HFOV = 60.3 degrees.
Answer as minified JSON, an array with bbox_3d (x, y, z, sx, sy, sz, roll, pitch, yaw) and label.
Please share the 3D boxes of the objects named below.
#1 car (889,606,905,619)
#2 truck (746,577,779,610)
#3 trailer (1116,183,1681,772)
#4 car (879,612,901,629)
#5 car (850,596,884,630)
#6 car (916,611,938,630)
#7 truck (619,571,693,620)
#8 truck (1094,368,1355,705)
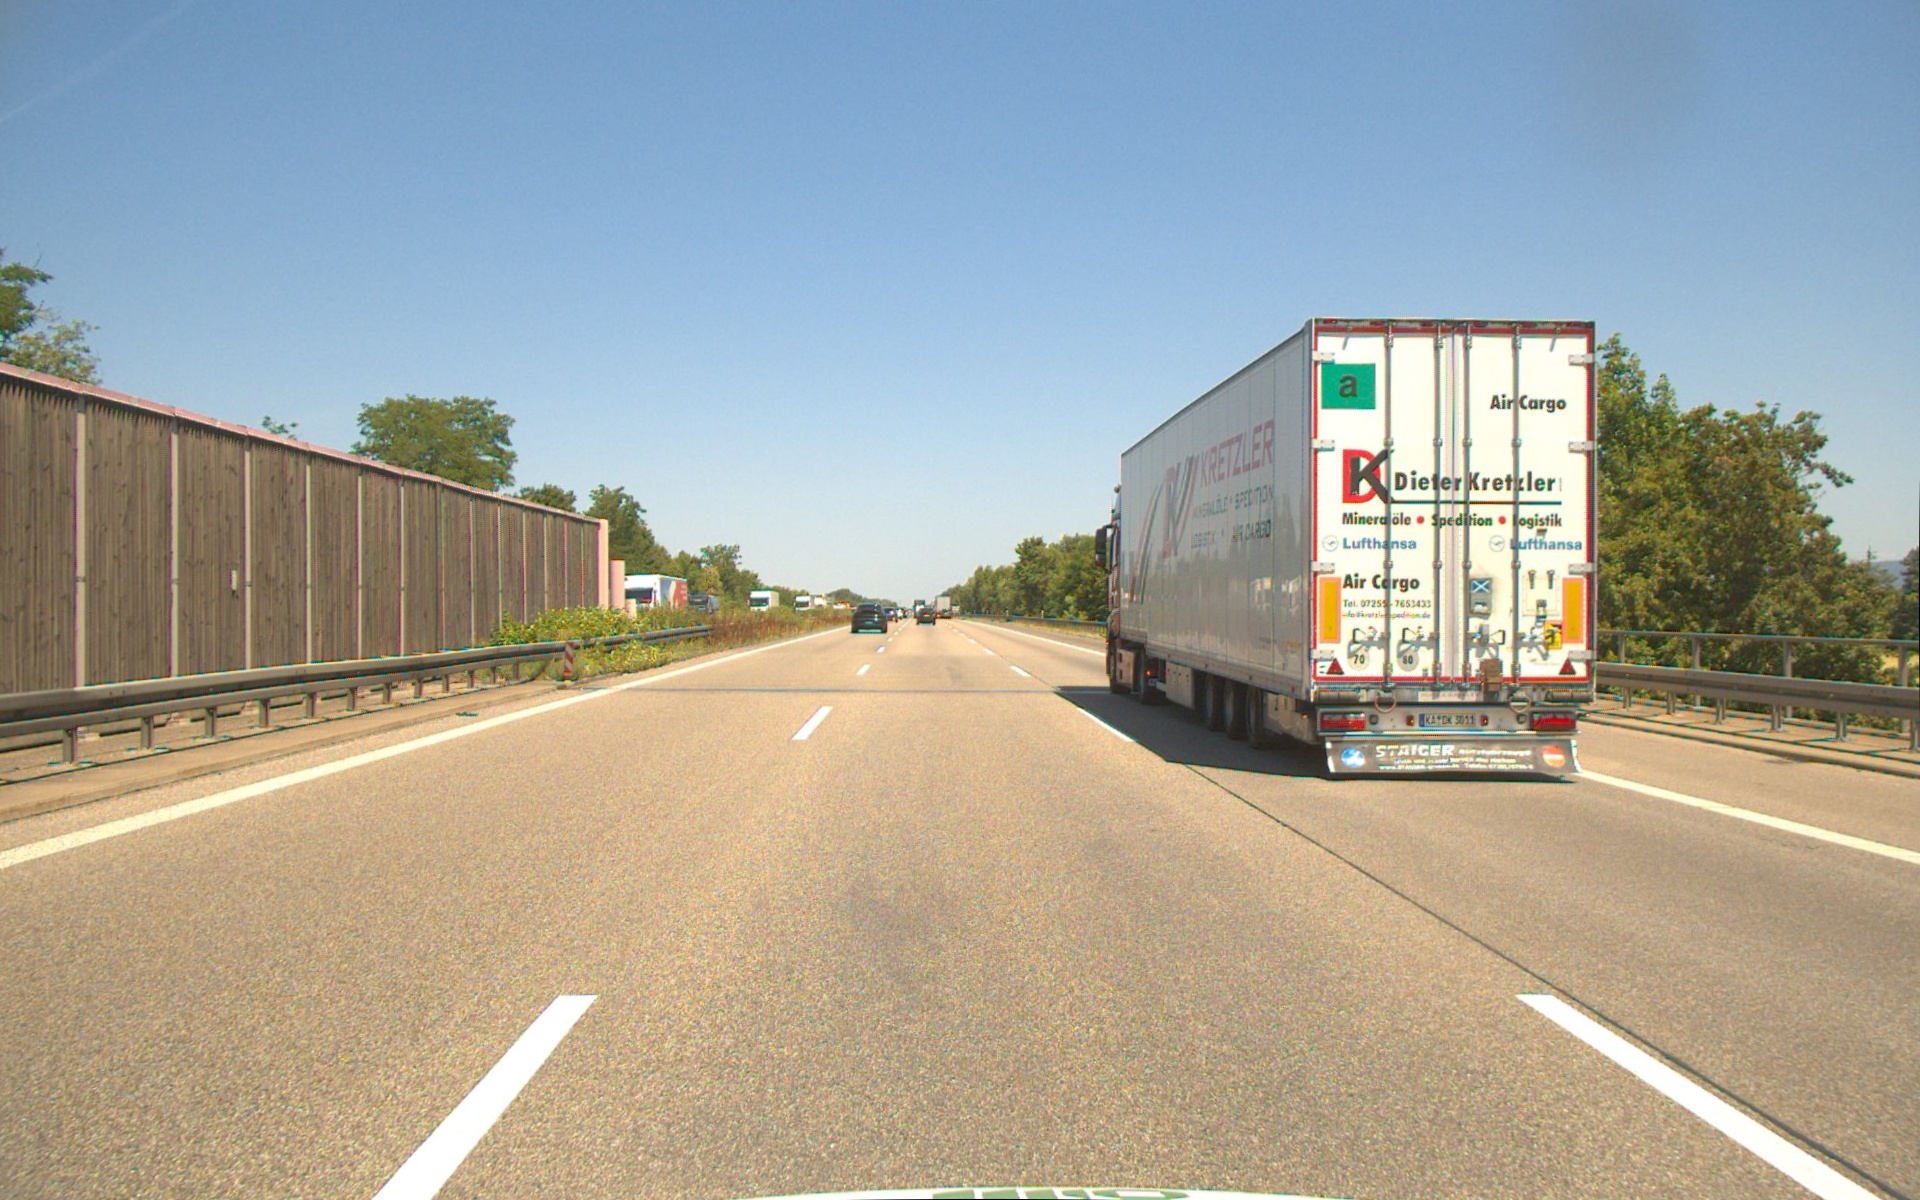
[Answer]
[{"bbox_3d":[-8.521,1.683,223.709,2.085,1.674,4.303,-1,-1,-1],"label":"car"},{"bbox_3d":[-25.595,-0.783,214.560,3.509,4.175,7.836,-1,0,-1],"label":"truck"},{"bbox_3d":[4.355,-1.066,20.938,3.203,4.922,14.026,1,0,-1],"label":"trailer"},{"bbox_3d":[-6.911,2.050,163.766,2.085,1.674,4.303,-1,-1,-1],"label":"car"},{"bbox_3d":[-5.234,0.721,93.190,1.842,1.823,3.998,0,0,-3],"label":"car"},{"bbox_3d":[-2.876,1.739,143.158,1.864,1.612,4.303,-1,-1,-1],"label":"car"},{"bbox_3d":[-22.965,-0.360,125.955,2.780,3.400,17.001,1,0,-1],"label":"truck"},{"bbox_3d":[4.220,-0.962,28.064,3.168,4.974,6.970,1,0,-1],"label":"truck"}]
